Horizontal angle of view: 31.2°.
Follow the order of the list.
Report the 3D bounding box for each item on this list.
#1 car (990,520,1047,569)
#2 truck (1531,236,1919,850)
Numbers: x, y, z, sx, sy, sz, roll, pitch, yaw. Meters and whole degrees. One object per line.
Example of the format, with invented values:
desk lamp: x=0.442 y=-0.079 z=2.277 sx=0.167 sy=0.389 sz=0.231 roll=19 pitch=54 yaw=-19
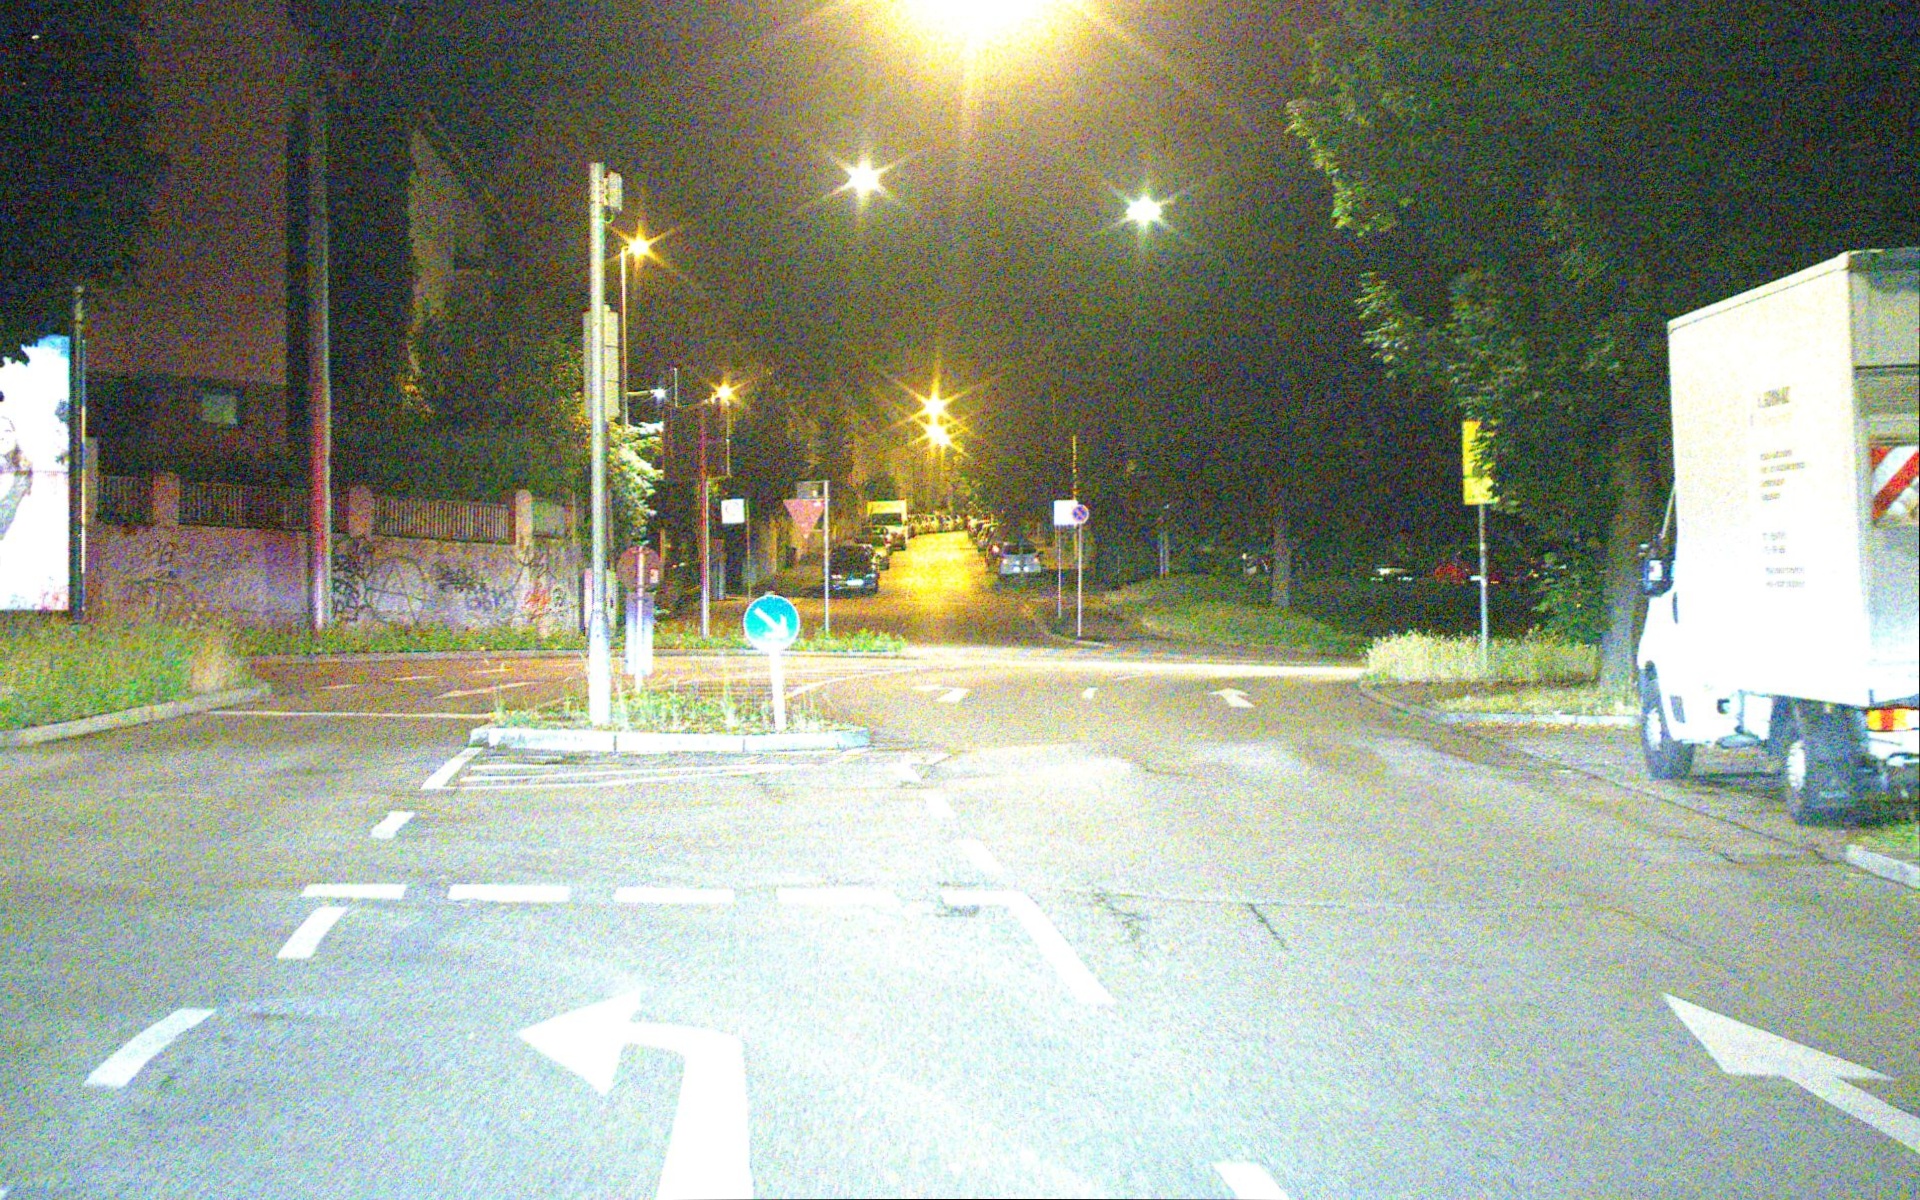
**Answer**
car: x=2.172 y=-2.077 z=129.083 sx=1.993 sy=1.763 sz=4.000 roll=1 pitch=1 yaw=0
truck: x=5.481 y=-0.357 z=20.615 sx=2.764 sy=3.034 sz=7.037 roll=-2 pitch=1 yaw=-1
